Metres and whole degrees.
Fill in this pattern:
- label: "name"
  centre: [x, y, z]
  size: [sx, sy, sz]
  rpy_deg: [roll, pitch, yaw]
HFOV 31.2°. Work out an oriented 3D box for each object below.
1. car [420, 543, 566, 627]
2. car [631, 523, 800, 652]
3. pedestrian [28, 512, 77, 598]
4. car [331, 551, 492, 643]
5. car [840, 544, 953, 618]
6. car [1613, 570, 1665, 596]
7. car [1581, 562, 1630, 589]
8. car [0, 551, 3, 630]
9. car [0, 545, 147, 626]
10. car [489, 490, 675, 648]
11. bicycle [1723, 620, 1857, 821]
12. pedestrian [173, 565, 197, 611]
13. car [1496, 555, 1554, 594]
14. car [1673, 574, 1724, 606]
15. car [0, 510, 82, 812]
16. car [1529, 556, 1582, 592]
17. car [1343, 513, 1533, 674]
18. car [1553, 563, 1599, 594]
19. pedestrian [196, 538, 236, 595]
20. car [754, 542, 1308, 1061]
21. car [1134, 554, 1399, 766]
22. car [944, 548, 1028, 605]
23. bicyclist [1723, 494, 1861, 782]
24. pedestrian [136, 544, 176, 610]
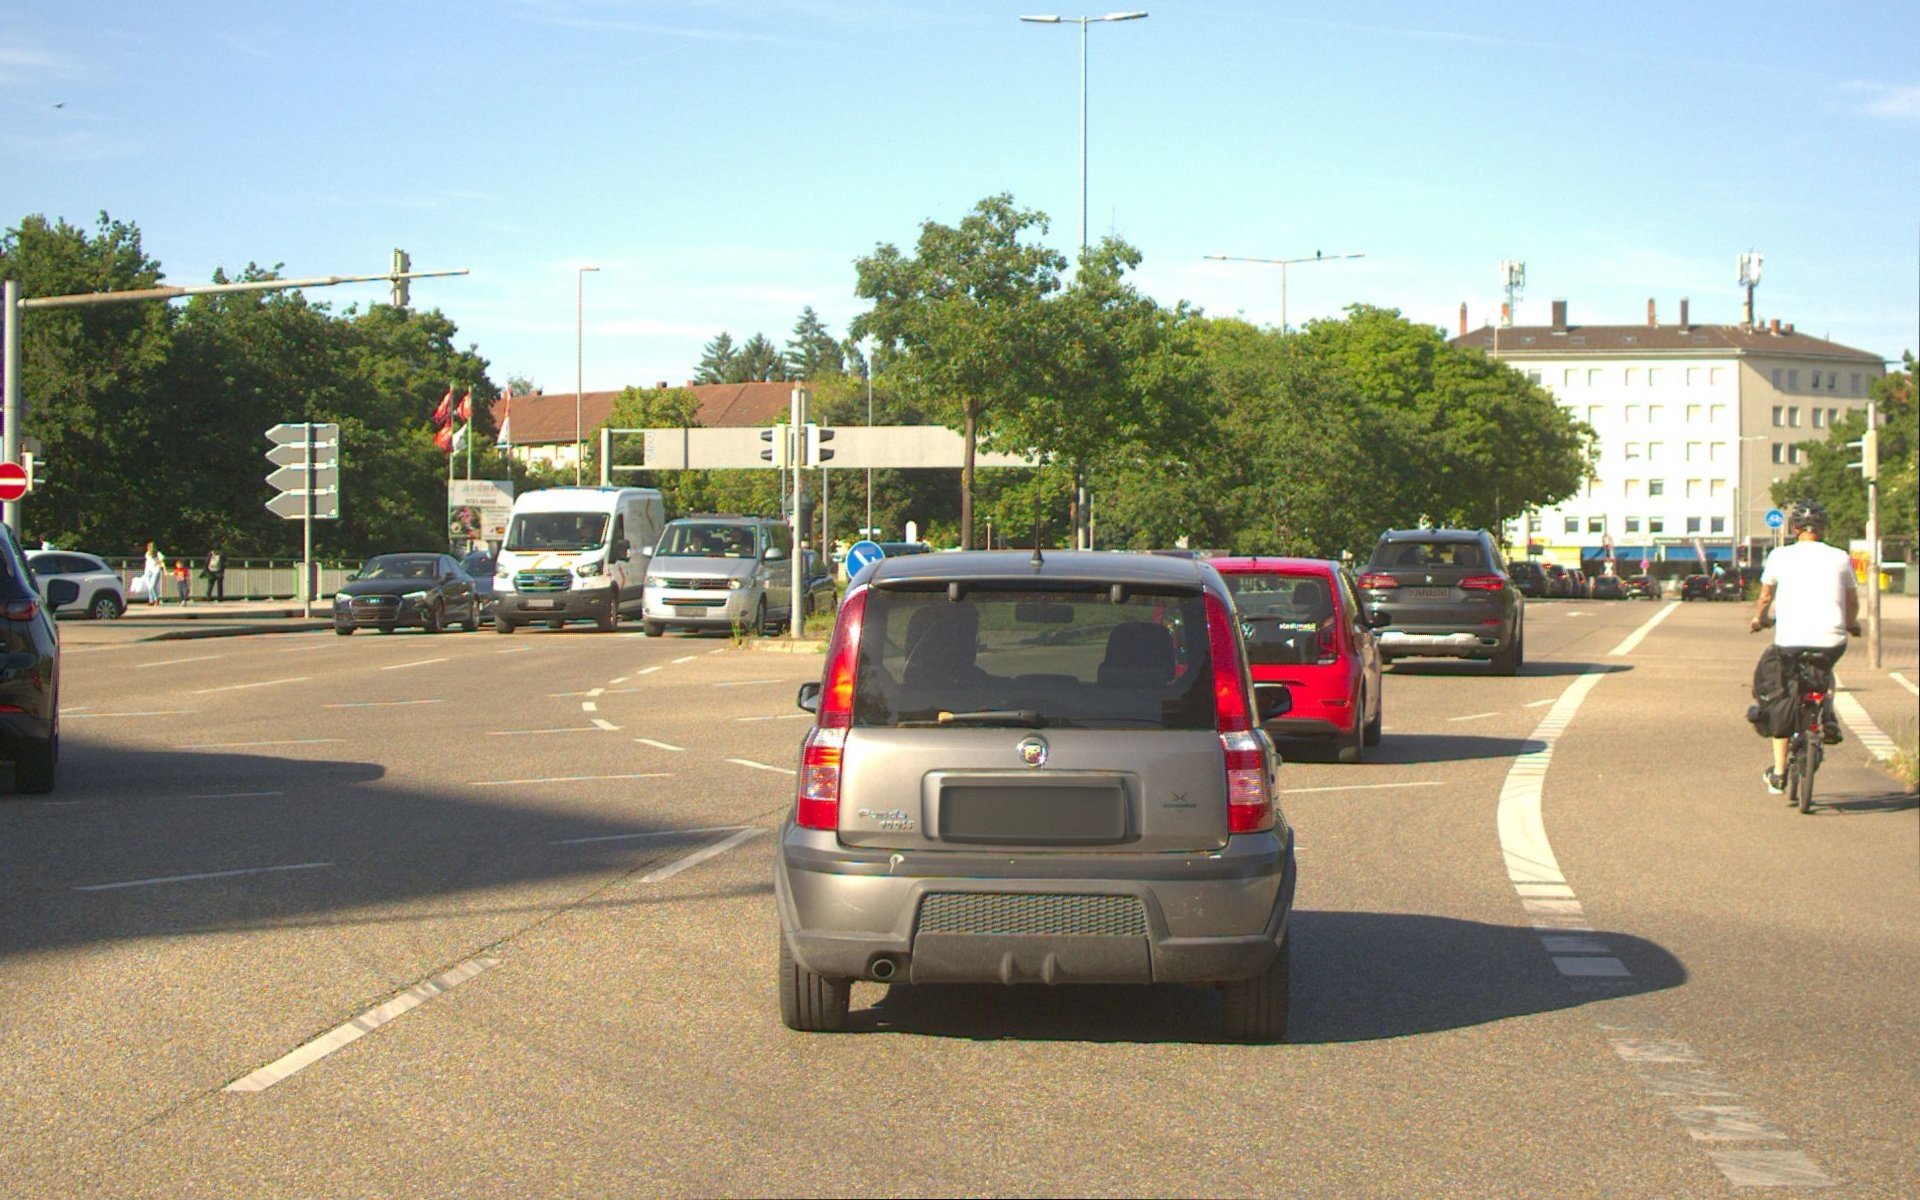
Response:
- label: "car"
  centre: [-8.960, -0.321, 66.343]
  size: [1.811, 1.536, 4.616]
  rpy_deg: [-1, 1, 5]
- label: "car"
  centre: [-3.936, -0.238, 56.113]
  size: [1.937, 2.001, 4.930]
  rpy_deg: [0, 1, 6]
- label: "pedestrian"
  centre: [-21.479, -1.057, 81.390]
  size: [0.806, 1.990, 0.787]
  rpy_deg: [1, -1, 11]
- label: "car"
  centre: [-9.468, -0.073, 59.661]
  size: [1.937, 1.502, 4.000]
  rpy_deg: [-1, 1, 3]
- label: "car"
  centre: [-1.419, -0.458, 78.258]
  size: [1.937, 1.617, 4.504]
  rpy_deg: [0, 1, 7]
- label: "car"
  centre: [40.941, -1.036, 207.158]
  size: [1.948, 1.523, 4.091]
  rpy_deg: [1, 1, 28]
- label: "car"
  centre: [37.002, -1.436, 197.127]
  size: [1.947, 1.523, 4.092]
  rpy_deg: [1, 1, 23]
- label: "car"
  centre: [-21.667, -0.271, 69.676]
  size: [1.899, 1.620, 3.991]
  rpy_deg: [1, -1, 37]
- label: "car"
  centre: [-18.351, -0.300, 67.986]
  size: [1.782, 1.530, 4.320]
  rpy_deg: [2, 2, 35]
- label: "car"
  centre: [-6.429, -0.547, 59.153]
  size: [1.937, 2.567, 6.087]
  rpy_deg: [0, 1, 6]
- label: "bicycle"
  centre: [4.940, 0.693, 20.536]
  size: [0.691, 1.098, 1.825]
  rpy_deg: [2, 1, 12]
- label: "pedestrian"
  centre: [-19.537, -0.292, 86.637]
  size: [0.423, 1.132, 0.397]
  rpy_deg: [1, -1, 11]
- label: "car"
  centre: [22.121, -1.007, 134.609]
  size: [1.946, 1.523, 4.095]
  rpy_deg: [1, 1, 13]
- label: "car"
  centre: [41.617, -0.555, 193.717]
  size: [1.868, 1.675, 3.903]
  rpy_deg: [1, -1, 26]
- label: "car"
  centre: [-6.541, 0.313, 21.313]
  size: [1.873, 1.703, 4.198]
  rpy_deg: [0, 1, -11]
- label: "car"
  centre: [25.741, -1.115, 148.497]
  size: [1.946, 1.523, 4.095]
  rpy_deg: [1, 1, 14]
- label: "car"
  centre: [5.936, -0.063, 42.331]
  size: [1.946, 1.834, 4.150]
  rpy_deg: [-2, -1, 13]
- label: "car"
  centre: [31.073, -1.116, 173.319]
  size: [1.946, 1.523, 4.095]
  rpy_deg: [1, 1, 14]
- label: "pedestrian"
  centre: [-20.113, -0.894, 92.888]
  size: [0.671, 1.498, 0.778]
  rpy_deg: [1, -1, 25]
- label: "car"
  centre: [0.293, 0.561, 12.021]
  size: [1.617, 1.510, 3.819]
  rpy_deg: [1, 1, 3]
- label: "car"
  centre: [2.380, 0.393, 25.964]
  size: [1.618, 1.458, 3.749]
  rpy_deg: [1, 1, 11]
- label: "car"
  centre: [0.795, -0.694, 100.595]
  size: [1.937, 1.617, 4.504]
  rpy_deg: [0, 1, 7]
- label: "bicyclist"
  centre: [4.955, 0.213, 20.527]
  size: [0.724, 1.654, 1.112]
  rpy_deg: [2, 1, 12]
- label: "pedestrian"
  centre: [-20.331, -0.577, 86.914]
  size: [0.720, 1.636, 0.672]
  rpy_deg: [1, -1, 11]
